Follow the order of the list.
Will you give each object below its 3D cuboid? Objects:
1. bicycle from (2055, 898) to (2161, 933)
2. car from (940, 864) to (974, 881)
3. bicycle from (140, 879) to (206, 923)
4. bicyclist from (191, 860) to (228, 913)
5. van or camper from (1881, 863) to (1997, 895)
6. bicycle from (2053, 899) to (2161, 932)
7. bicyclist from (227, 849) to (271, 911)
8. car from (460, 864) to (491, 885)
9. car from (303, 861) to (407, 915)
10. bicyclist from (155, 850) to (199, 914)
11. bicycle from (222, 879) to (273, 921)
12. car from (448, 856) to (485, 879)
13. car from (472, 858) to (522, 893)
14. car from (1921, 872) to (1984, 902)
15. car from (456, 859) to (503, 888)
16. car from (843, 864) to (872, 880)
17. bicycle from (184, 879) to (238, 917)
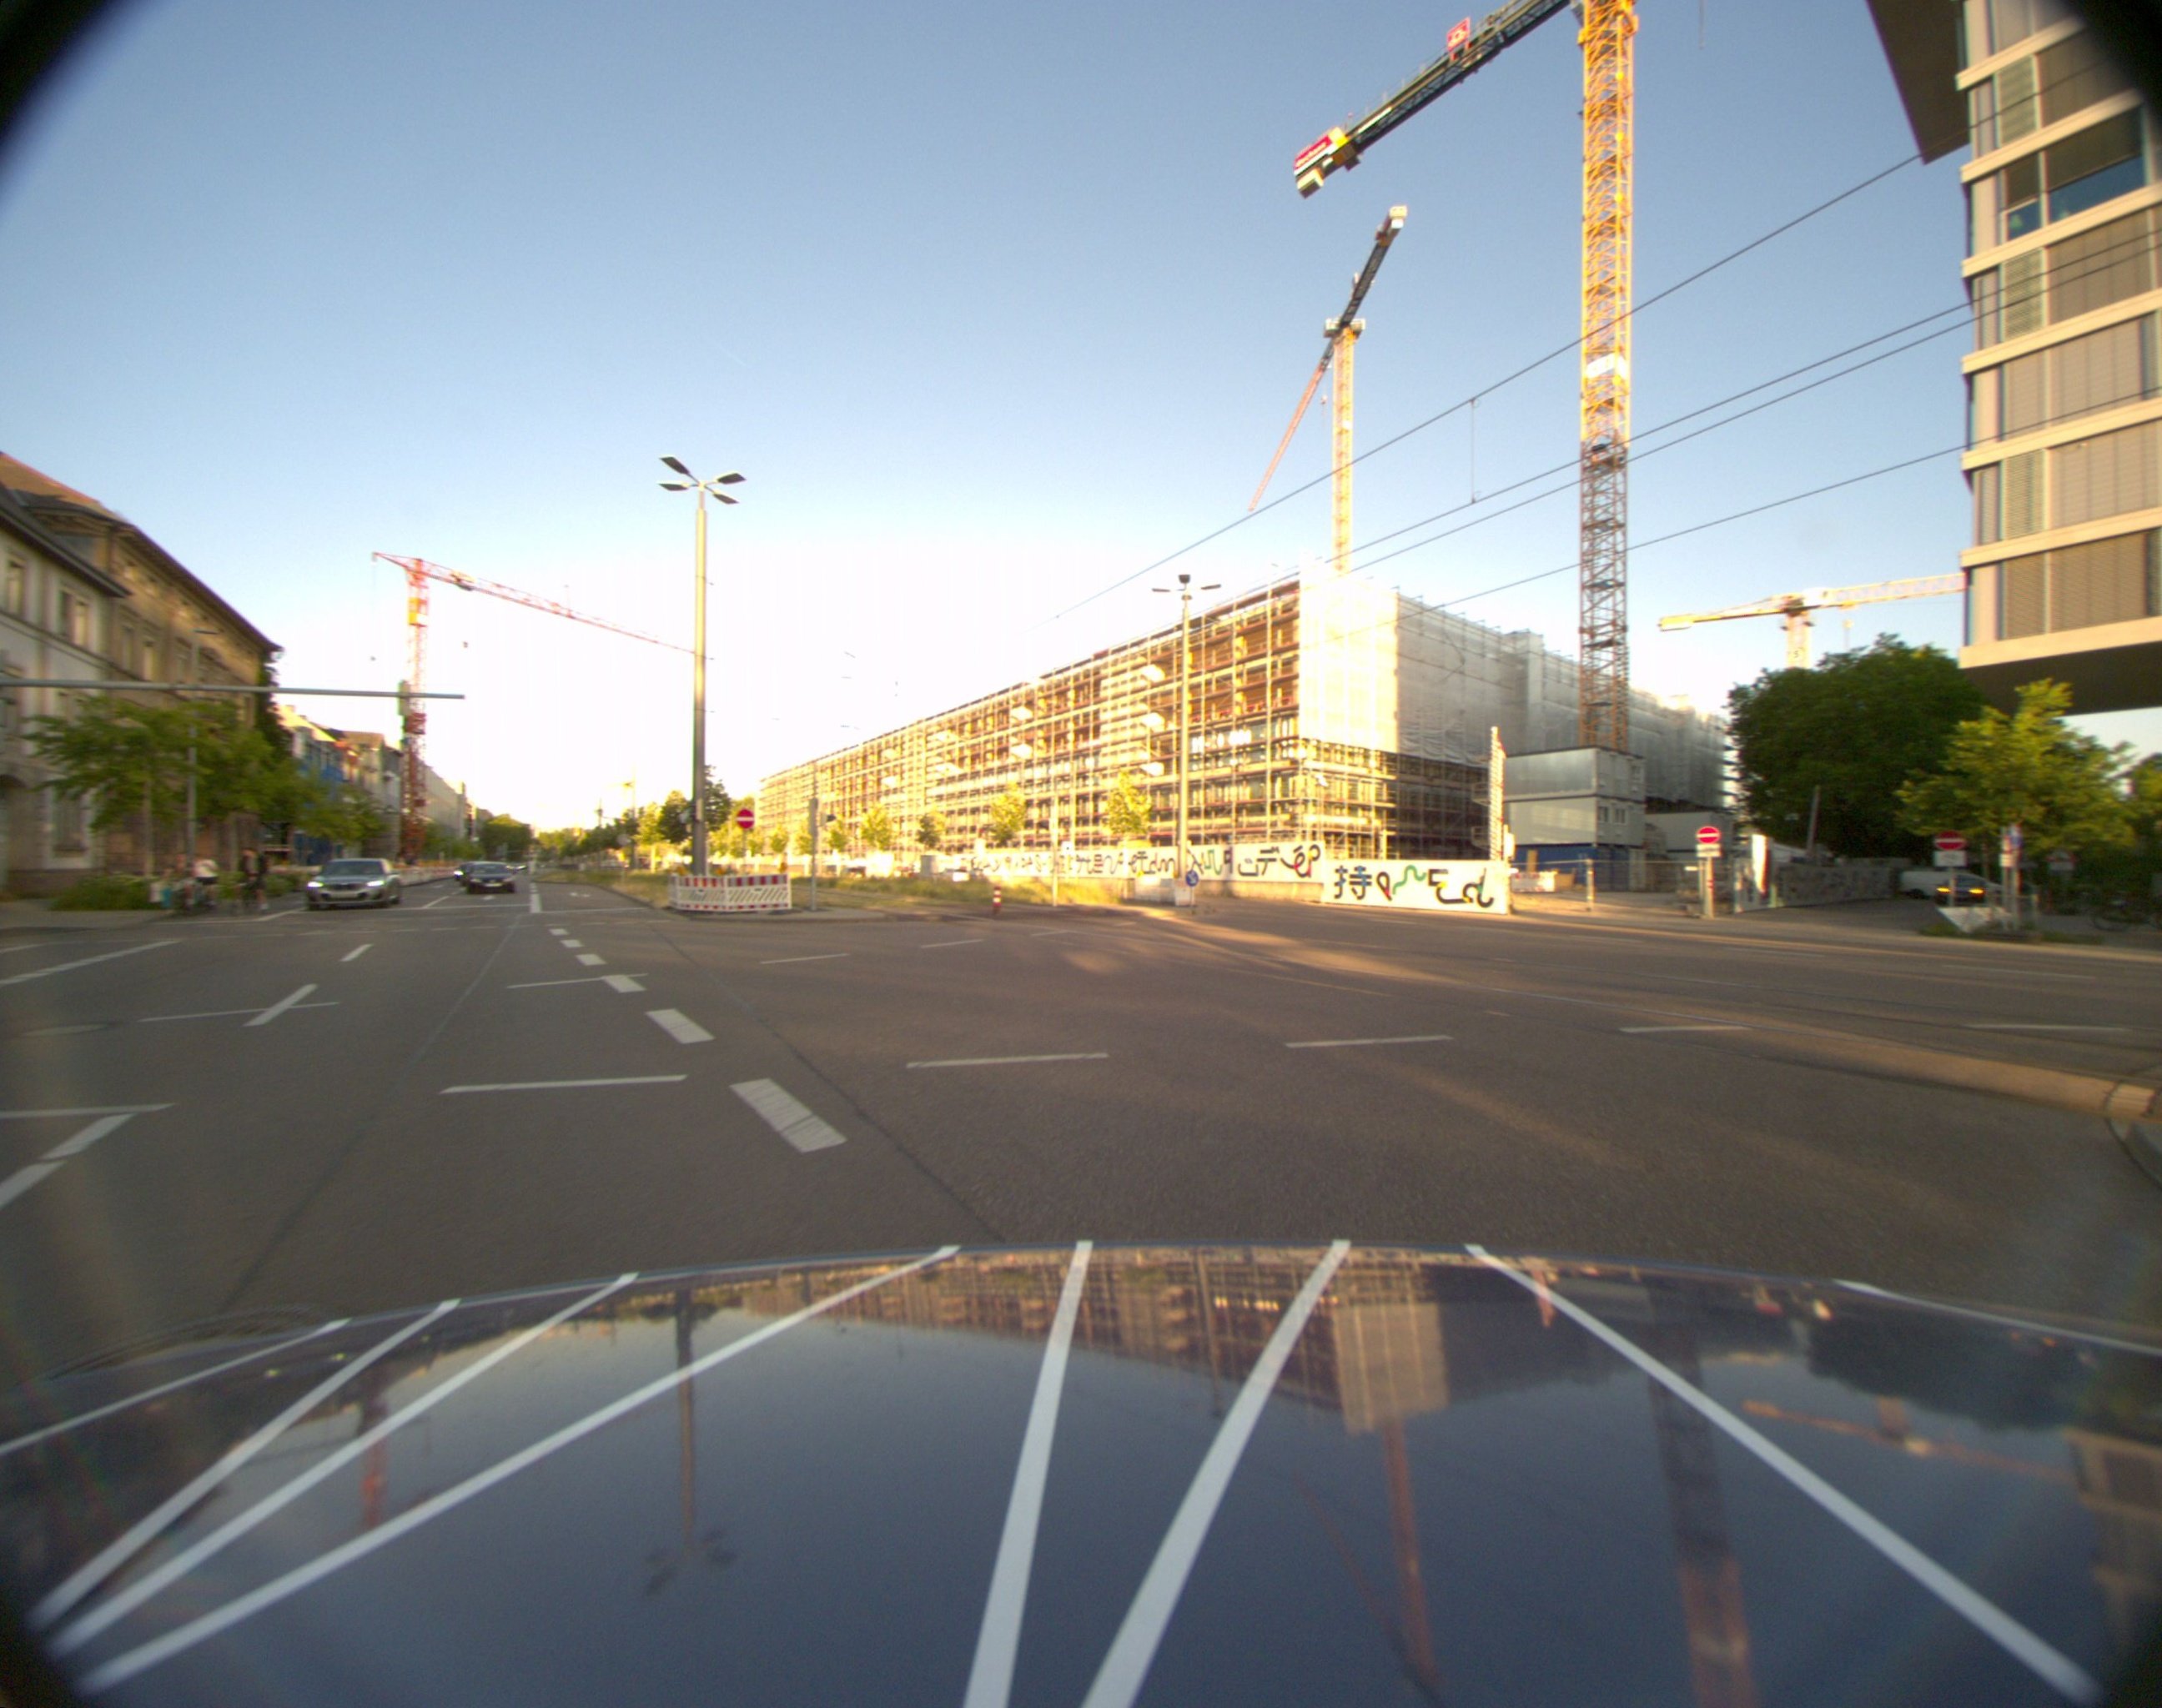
[{"bbox_3d":[29.148,1.717,21.473,0.395,0.869,1.973,-2,1,-38],"label":"bicycle"},{"bbox_3d":[-11.303,1.707,69.235,1.672,1.446,4.059,3,-2,-30],"label":"car"},{"bbox_3d":[-24.891,1.272,20.869,0.530,1.045,2.042,4,-1,-33],"label":"bicycle"},{"bbox_3d":[-25.807,0.943,22.505,0.513,1.539,0.690,2,-1,-33],"label":"bicyclist"},{"bbox_3d":[59.536,1.766,52.825,2.497,2.109,4.943,1,-3,-32],"label":"van or camper"},{"bbox_3d":[29.838,1.761,22.059,0.395,0.869,1.973,-2,-1,-38],"label":"bicycle"},{"bbox_3d":[-23.810,0.727,21.756,0.707,1.692,0.766,-3,3,-42],"label":"bicyclist"},{"bbox_3d":[-47.431,1.597,59.580,1.707,1.588,3.879,0,0,-35],"label":"car"},{"bbox_3d":[-23.601,1.030,24.852,1.838,1.588,4.249,0,0,-35],"label":"car"},{"bbox_3d":[-24.911,0.760,20.945,0.511,1.691,0.766,4,0,-33],"label":"bicyclist"},{"bbox_3d":[-23.643,1.283,21.580,0.723,1.045,2.038,-3,2,-41],"label":"bicycle"},{"bbox_3d":[-45.931,0.975,56.816,1.884,1.652,3.752,0,0,-35],"label":"car"},{"bbox_3d":[-27.965,0.980,36.498,1.707,1.588,4.249,0,0,-35],"label":"car"},{"bbox_3d":[49.987,1.871,43.577,3.713,1.588,2.004,1,0,-35],"label":"car"},{"bbox_3d":[-34.767,1.060,43.992,1.866,1.588,4.249,0,0,-35],"label":"car"},{"bbox_3d":[-22.853,1.777,77.505,1.790,1.508,4.058,3,-2,-32],"label":"car"},{"bbox_3d":[-25.949,1.289,22.699,0.519,1.045,2.038,2,-1,-34],"label":"bicycle"}]
